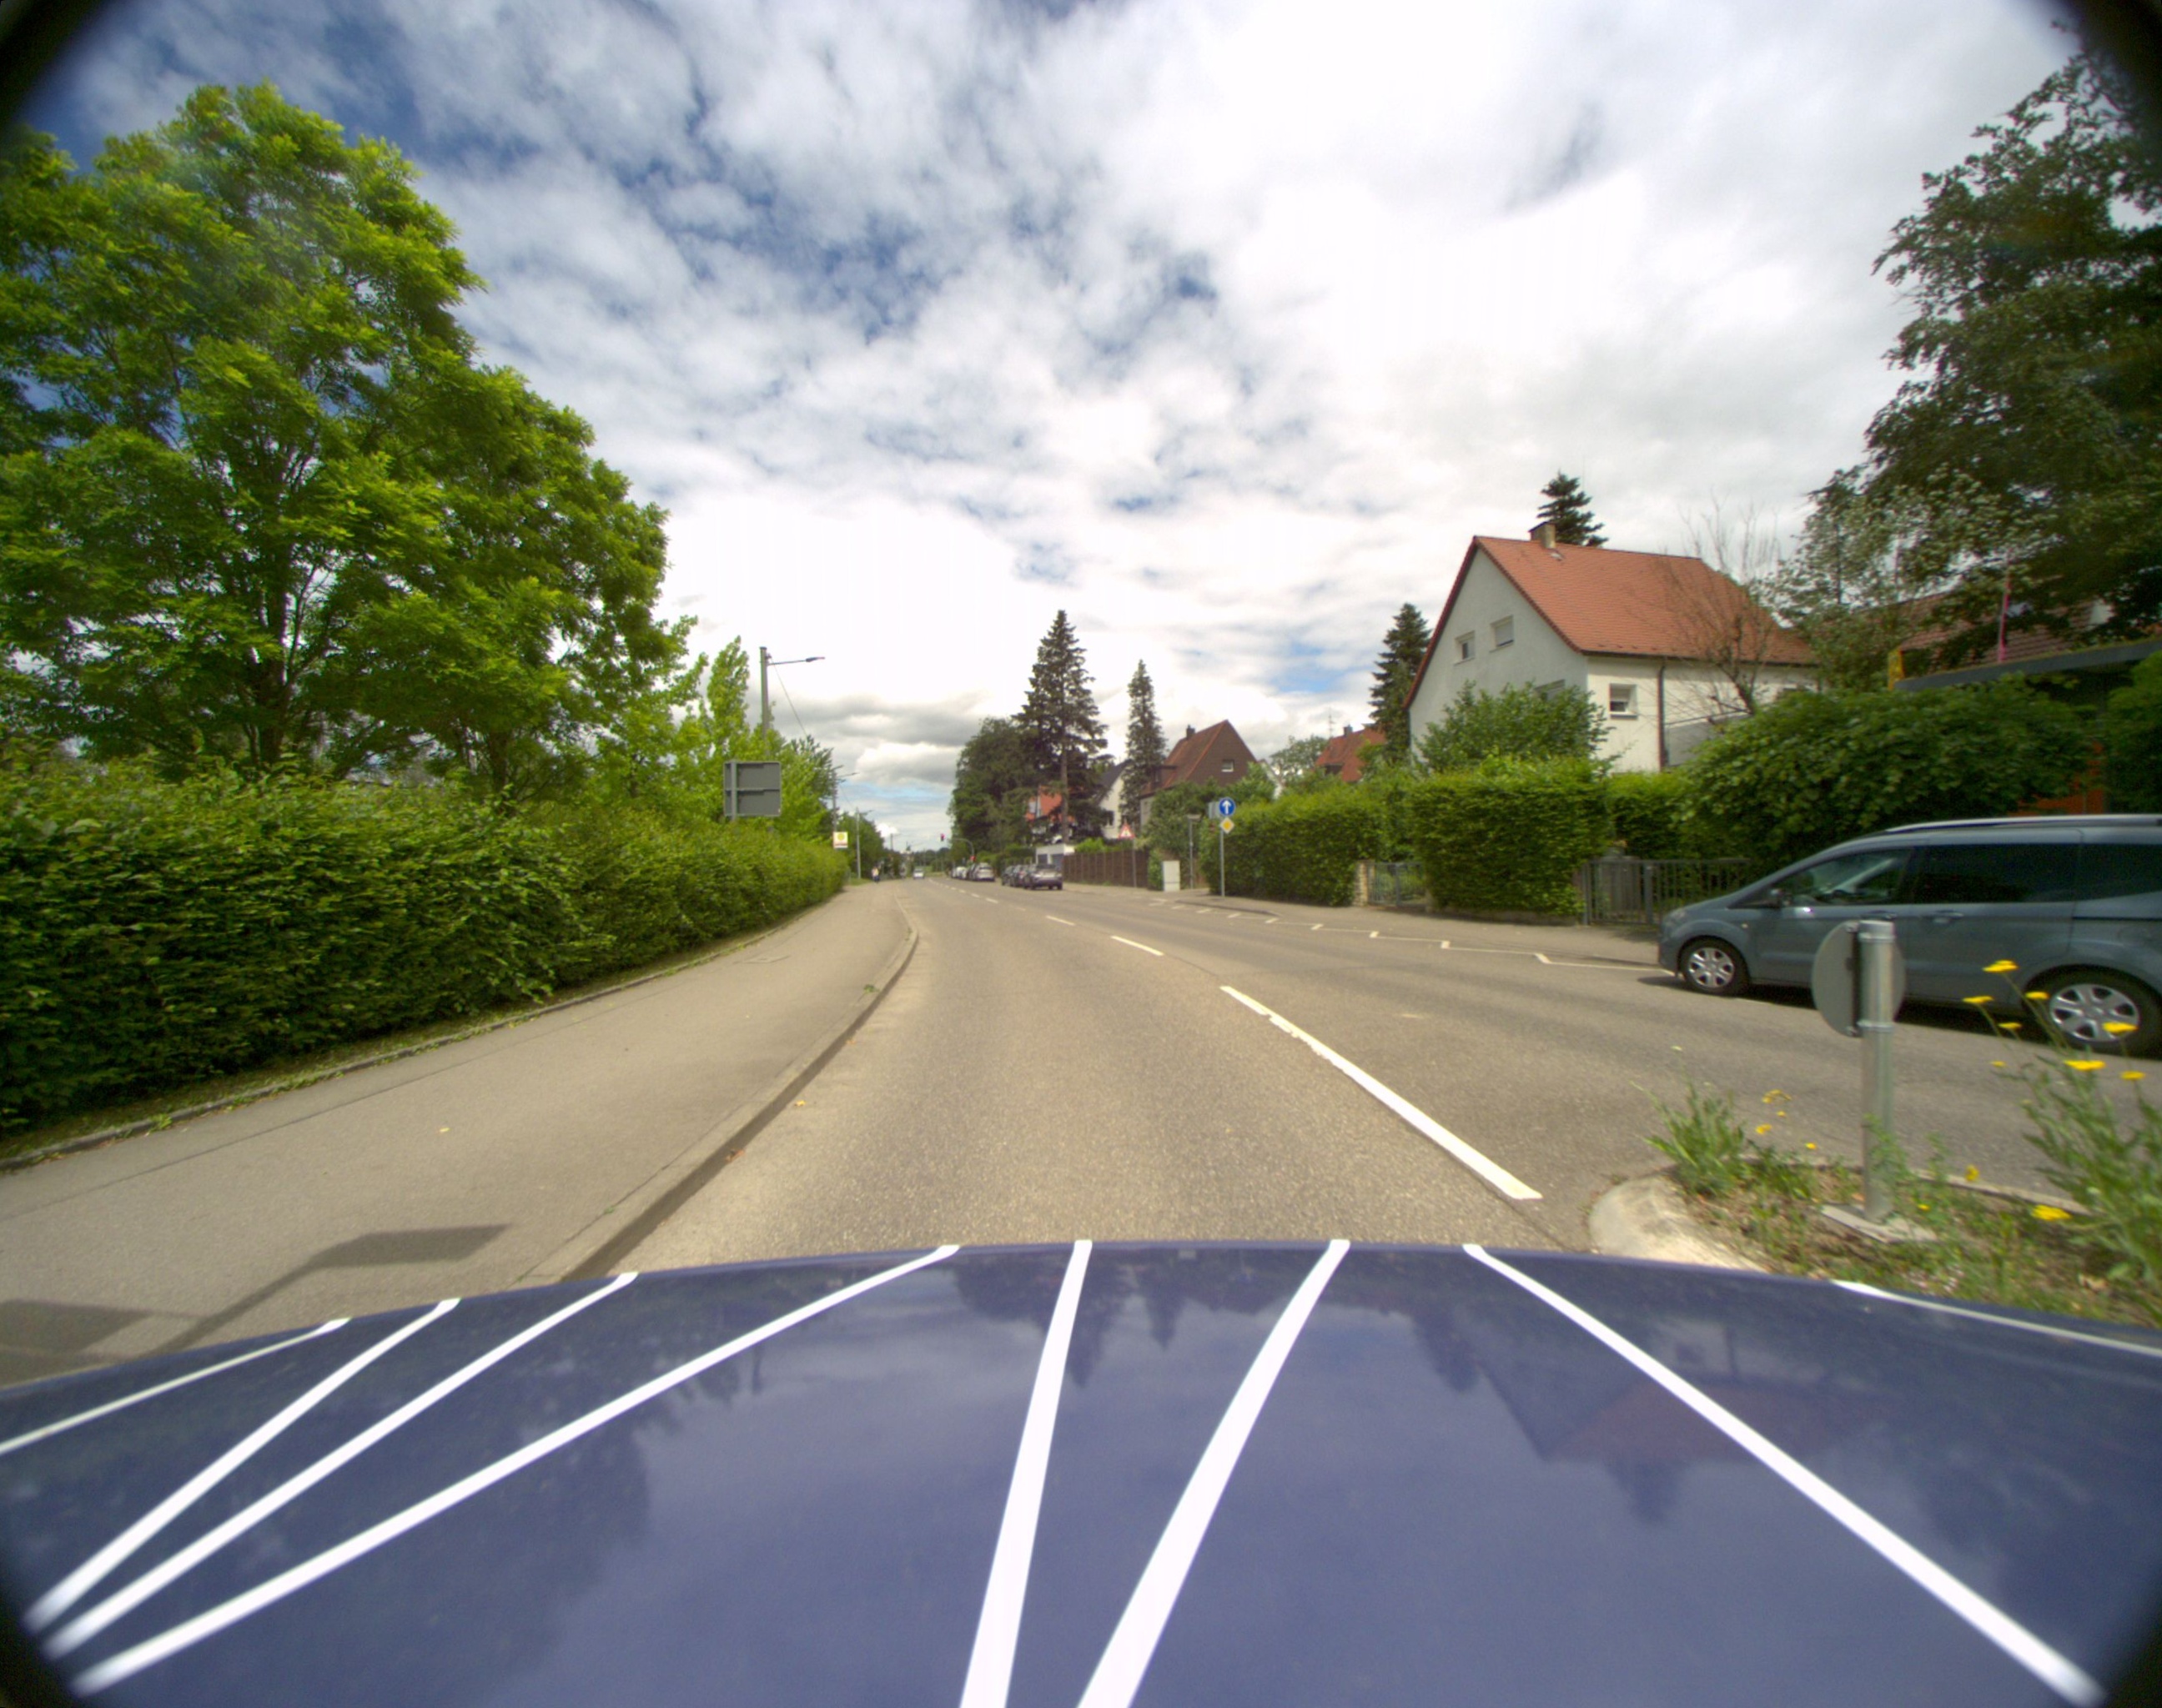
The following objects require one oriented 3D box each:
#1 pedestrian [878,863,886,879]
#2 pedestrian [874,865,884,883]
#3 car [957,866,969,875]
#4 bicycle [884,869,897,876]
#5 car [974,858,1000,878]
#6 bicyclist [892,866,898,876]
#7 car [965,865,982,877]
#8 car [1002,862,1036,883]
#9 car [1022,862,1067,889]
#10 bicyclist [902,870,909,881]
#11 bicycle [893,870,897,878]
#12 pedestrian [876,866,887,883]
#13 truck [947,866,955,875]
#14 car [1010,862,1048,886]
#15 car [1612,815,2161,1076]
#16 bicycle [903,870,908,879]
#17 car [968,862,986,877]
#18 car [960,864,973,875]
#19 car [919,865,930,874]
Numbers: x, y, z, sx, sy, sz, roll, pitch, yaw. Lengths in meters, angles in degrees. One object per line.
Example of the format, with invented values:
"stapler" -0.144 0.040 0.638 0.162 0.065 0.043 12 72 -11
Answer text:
"pedestrian" -23.278 2.018 88.959 0.747 1.871 0.801 -3 0 -5
"pedestrian" -19.115 1.897 71.931 0.688 1.649 0.689 -3 0 -7
"car" -19.298 2.691 124.473 1.710 1.444 4.355 1 -1 -7
"bicycle" -32.850 3.246 130.970 2.096 1.144 0.530 -2 0 -13
"car" -9.289 1.401 74.912 1.992 1.808 4.703 -2 -1 -12
"bicyclist" -27.874 2.549 113.815 0.827 1.529 0.861 -2 0 -12
"car" -13.266 2.049 93.431 1.812 1.450 5.065 0 -1 -10
"car" -4.534 1.349 54.878 1.658 1.418 3.901 0 -1 -17
"car" -2.199 1.225 44.710 2.000 1.470 4.642 0 -1 -11
"bicyclist" -26.446 3.207 114.507 0.827 1.529 0.861 -3 0 -13
"bicycle" -27.931 3.007 113.817 0.451 1.142 2.206 -2 0 -11
"pedestrian" -20.309 2.090 77.420 0.842 1.649 0.766 -3 0 -7
"truck" -37.461 4.713 218.351 2.196 2.357 6.899 0 -1 -11
"car" -3.477 1.278 50.080 1.873 1.450 4.484 -1 0 -12
"car" 7.877 0.625 6.946 2.141 1.762 4.457 -3 0 -21
"bicycle" -26.305 3.097 113.859 0.451 1.278 2.205 -3 0 -15
"car" -11.954 1.831 86.942 1.632 1.668 4.579 1 -1 -12
"car" -18.054 2.433 119.529 1.682 1.747 4.604 0 -1 -12
"car" -25.348 2.569 122.938 1.667 1.394 3.896 -2 -1 -11
